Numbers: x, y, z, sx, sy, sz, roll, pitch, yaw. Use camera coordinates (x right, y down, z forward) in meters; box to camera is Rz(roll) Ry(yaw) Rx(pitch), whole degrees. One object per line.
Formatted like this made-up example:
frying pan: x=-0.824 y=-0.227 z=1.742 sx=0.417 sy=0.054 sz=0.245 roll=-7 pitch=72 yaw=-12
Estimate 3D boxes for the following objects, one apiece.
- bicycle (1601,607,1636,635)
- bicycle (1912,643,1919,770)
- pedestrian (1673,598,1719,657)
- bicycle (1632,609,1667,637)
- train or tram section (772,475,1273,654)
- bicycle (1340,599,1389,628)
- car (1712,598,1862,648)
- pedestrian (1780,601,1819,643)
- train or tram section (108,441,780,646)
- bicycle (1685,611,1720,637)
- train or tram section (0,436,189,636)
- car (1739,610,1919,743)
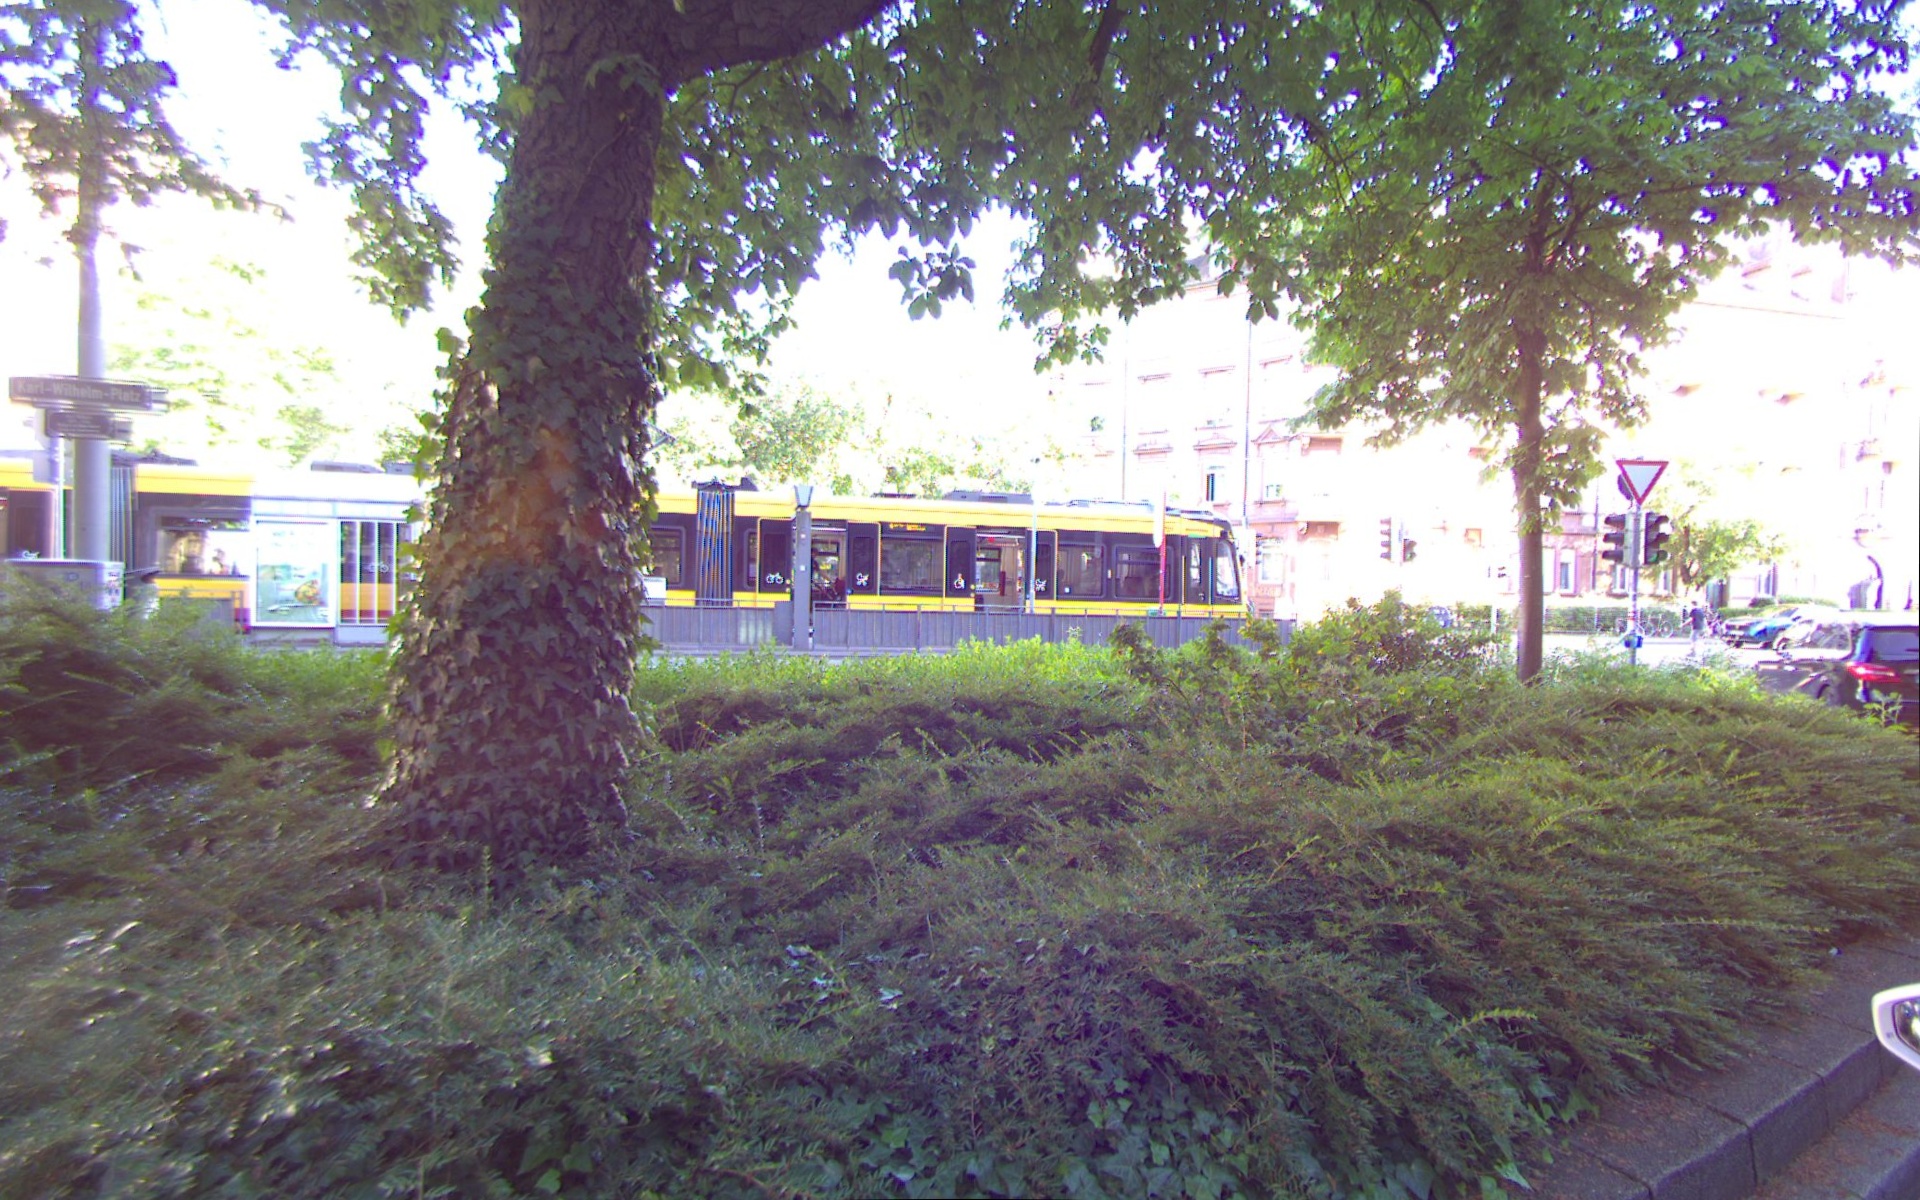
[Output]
bicycle: x=27.680 y=0.887 z=42.211 sx=1.210 sy=1.122 sz=0.442 roll=1 pitch=2 yaw=-7
bicycle: x=9.136 y=1.037 z=8.855 sx=0.799 sy=1.200 sz=2.218 roll=2 pitch=1 yaw=37
pedestrian: x=21.605 y=0.785 z=29.496 sx=0.720 sy=1.657 sz=0.893 roll=-1 pitch=4 yaw=-44
bicycle: x=29.070 y=0.956 z=42.355 sx=1.210 sy=1.122 sz=0.442 roll=1 pitch=2 yaw=-7
train or tram section: x=1.475 y=-0.709 z=24.062 sx=11.597 sy=3.668 sz=2.793 roll=1 pitch=1 yaw=-13
bicycle: x=17.591 y=0.583 z=43.717 sx=1.928 sy=1.122 sz=0.443 roll=3 pitch=2 yaw=22
car: x=30.092 y=0.837 z=36.596 sx=4.333 sy=1.672 sz=1.944 roll=1 pitch=1 yaw=-12
pedestrian: x=34.527 y=0.899 z=41.336 sx=0.880 sy=1.688 sz=0.712 roll=2 pitch=4 yaw=5
train or tram section: x=-10.116 y=-1.010 z=21.336 sx=12.206 sy=3.635 sz=2.779 roll=1 pitch=1 yaw=-13
bicycle: x=31.599 y=1.027 z=42.744 sx=1.211 sy=1.052 sz=0.442 roll=1 pitch=2 yaw=-8
train or tram section: x=-22.137 y=-1.315 z=18.519 sx=12.463 sy=3.605 sz=2.766 roll=1 pitch=1 yaw=-13
car: x=12.184 y=0.915 z=13.509 sx=1.761 sy=1.562 sz=3.858 roll=0 pitch=0 yaw=23
